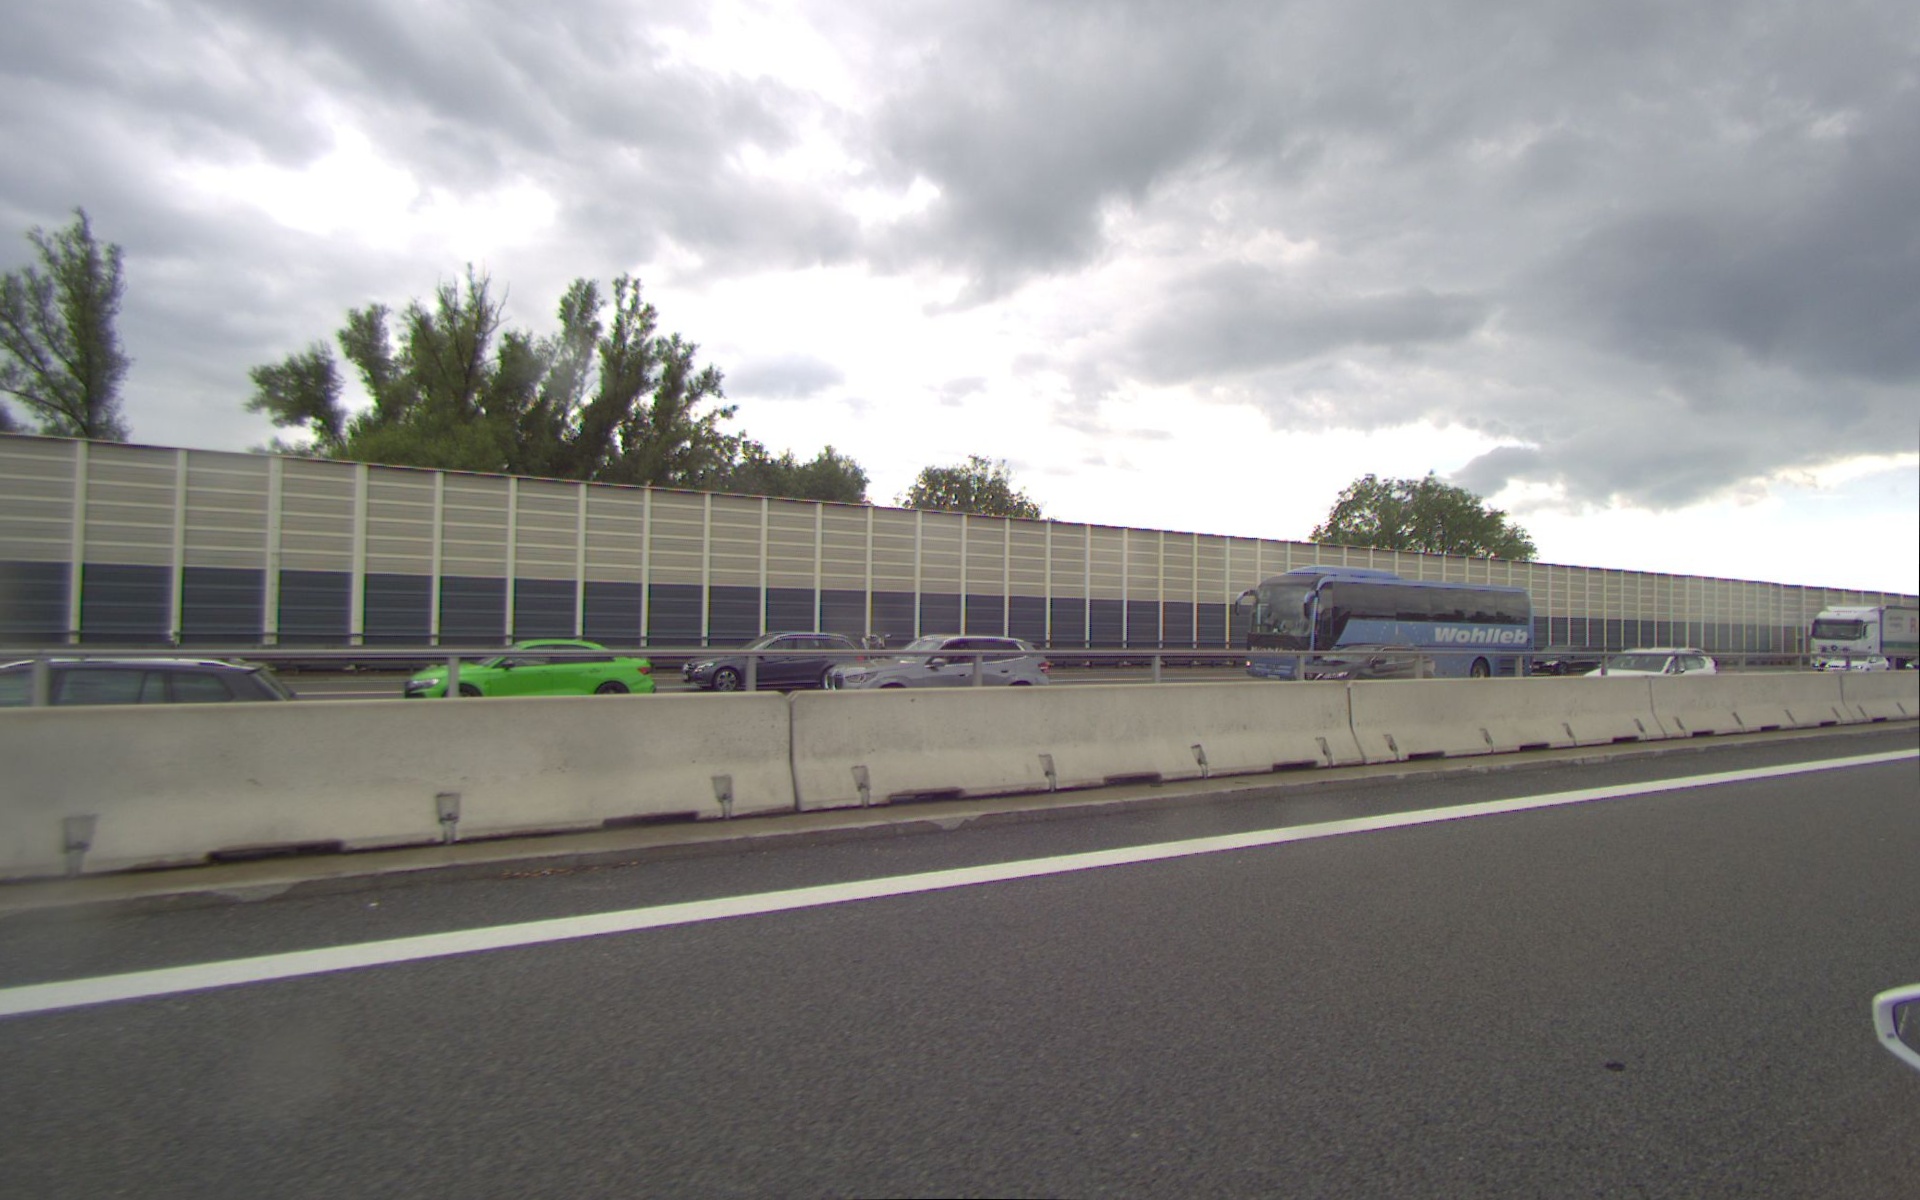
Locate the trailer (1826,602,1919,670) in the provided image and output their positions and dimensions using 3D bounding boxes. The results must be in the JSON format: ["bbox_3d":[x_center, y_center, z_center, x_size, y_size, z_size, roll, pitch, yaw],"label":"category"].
[{"bbox_3d":[59.708,2.291,63.943,13.652,3.987,2.551,1,0,-30],"label":"trailer"}]

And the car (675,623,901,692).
[{"bbox_3d":[-4.442,1.468,26.396,5.621,1.632,1.739,1,-1,-30],"label":"car"}]

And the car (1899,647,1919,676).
[{"bbox_3d":[55.112,3.448,56.663,5.079,1.546,1.739,1,-1,-30],"label":"car"}]

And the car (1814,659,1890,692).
[{"bbox_3d":[45.500,3.807,51.221,4.128,1.546,1.739,1,-1,-30],"label":"car"}]

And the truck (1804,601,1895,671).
[{"bbox_3d":[53.380,2.129,60.268,5.115,3.987,2.564,1,0,-30],"label":"truck"}]

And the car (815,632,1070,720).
[{"bbox_3d":[-0.290,1.446,20.070,4.869,1.546,1.739,1,-1,-30],"label":"car"}]

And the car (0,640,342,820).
[{"bbox_3d":[-8.826,1.245,10.313,4.128,1.629,1.739,1,-1,-30],"label":"car"}]

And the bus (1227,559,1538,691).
[{"bbox_3d":[14.252,0.868,33.261,11.741,3.808,3.078,1,-1,-30],"label":"bus"}]

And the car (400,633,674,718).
[{"bbox_3d":[-8.105,1.387,19.419,4.663,1.449,1.738,2,-1,-32],"label":"car"}]

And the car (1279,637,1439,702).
[{"bbox_3d":[10.461,1.772,26.286,4.128,1.546,1.739,1,-1,-30],"label":"car"}]

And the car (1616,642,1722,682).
[{"bbox_3d":[29.976,2.586,42.459,4.764,1.546,1.874,1,-1,-30],"label":"car"}]

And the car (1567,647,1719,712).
[{"bbox_3d":[18.089,2.040,26.579,4.128,1.546,1.739,1,-1,-30],"label":"car"}]

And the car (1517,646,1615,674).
[{"bbox_3d":[27.365,2.673,45.334,4.440,1.129,1.874,1,-1,-30],"label":"car"}]
